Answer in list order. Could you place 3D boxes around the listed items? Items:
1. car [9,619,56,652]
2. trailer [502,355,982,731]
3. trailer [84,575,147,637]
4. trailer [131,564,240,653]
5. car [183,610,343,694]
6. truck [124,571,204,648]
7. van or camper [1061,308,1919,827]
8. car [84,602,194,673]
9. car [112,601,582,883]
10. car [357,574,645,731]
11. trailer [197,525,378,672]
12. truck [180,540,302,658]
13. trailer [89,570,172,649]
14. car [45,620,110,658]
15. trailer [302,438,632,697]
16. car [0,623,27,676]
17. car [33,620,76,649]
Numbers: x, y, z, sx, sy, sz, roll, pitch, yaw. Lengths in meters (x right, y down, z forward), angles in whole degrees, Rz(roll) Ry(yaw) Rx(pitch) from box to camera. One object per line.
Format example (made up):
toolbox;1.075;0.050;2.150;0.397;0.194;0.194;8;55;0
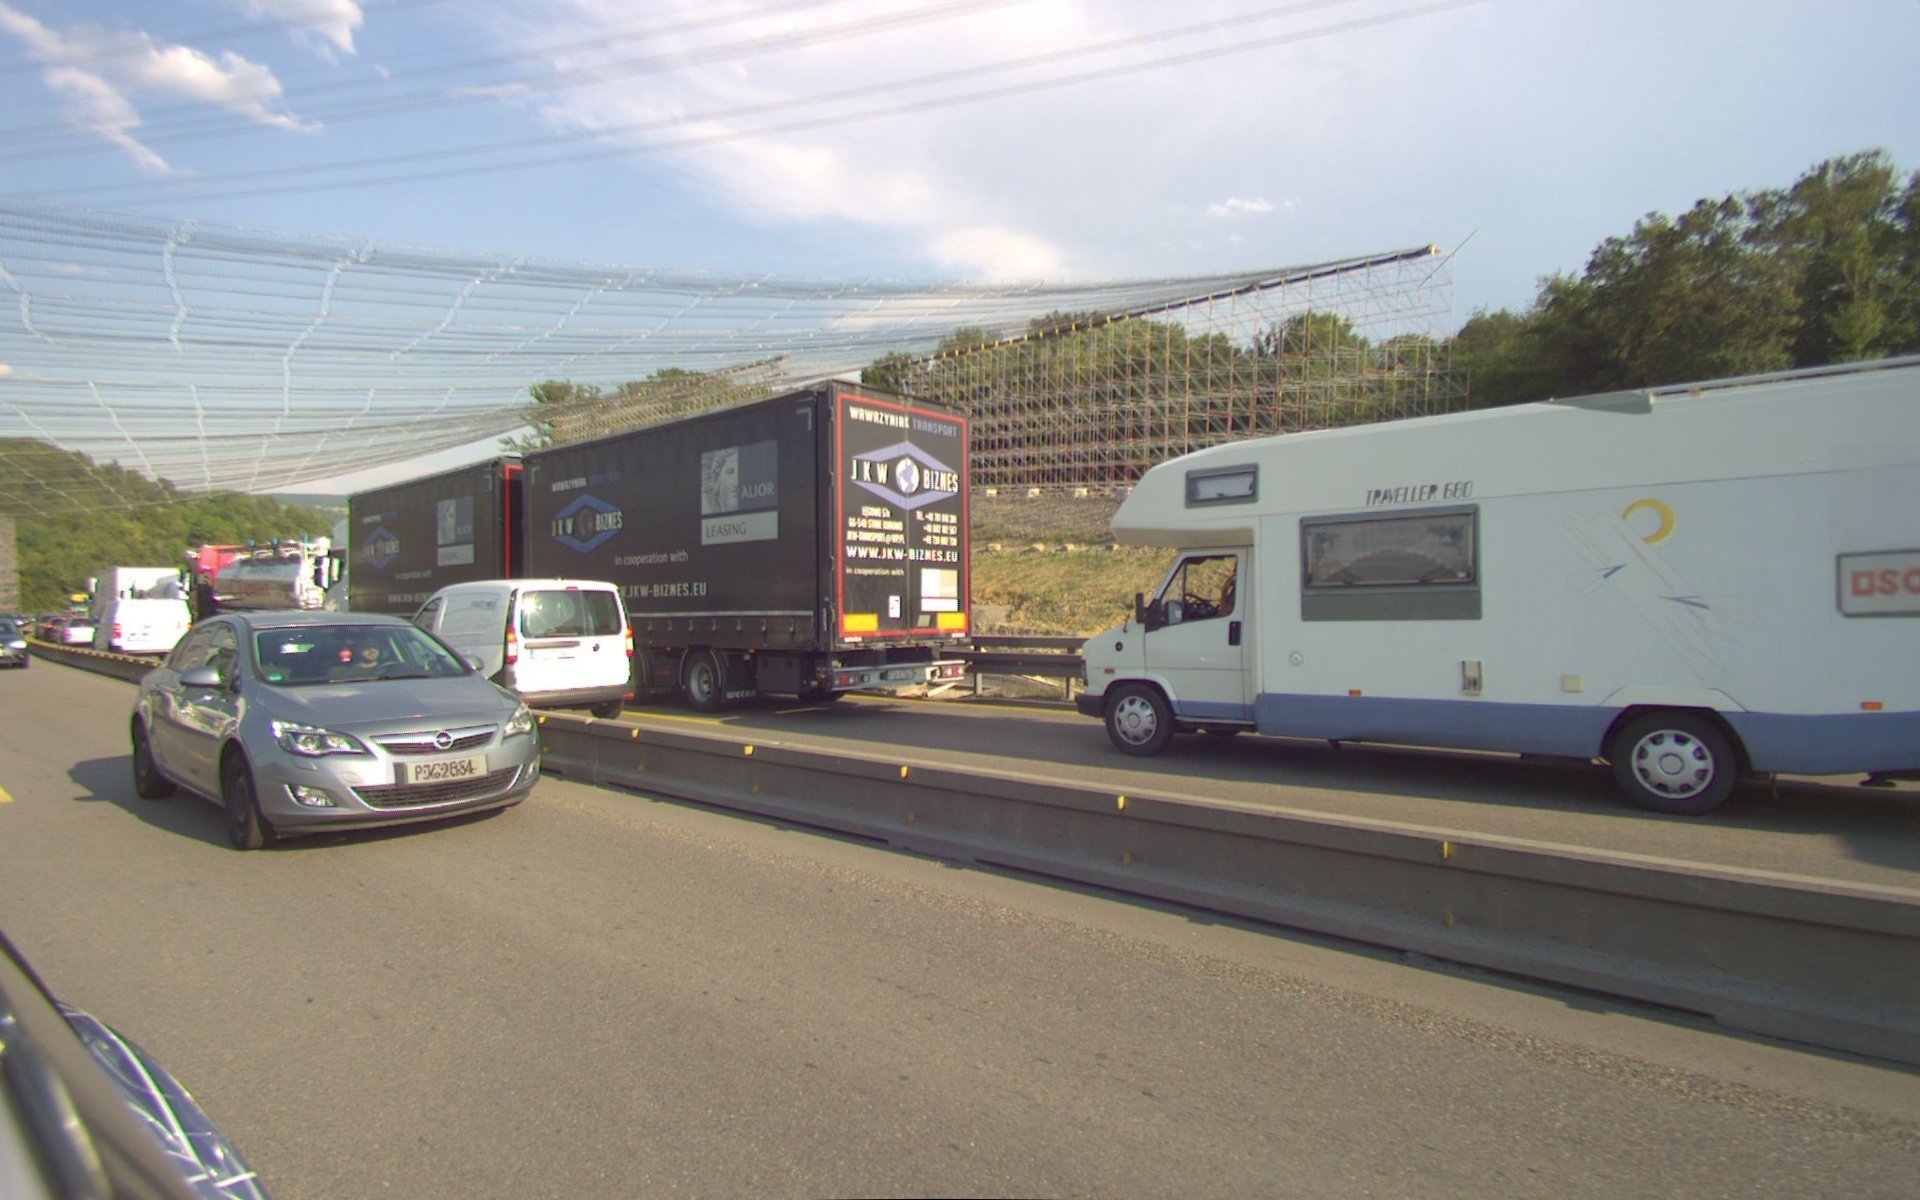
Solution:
car;-44.676;1.679;48.742;3.588;1.540;1.489;-1;0;44
trailer;-3.718;-0.602;15.112;8.540;4.220;2.417;-1;0;42
trailer;-60.194;0.427;71.997;2.638;4.046;13.345;0;0;-43
trailer;-33.549;0.374;43.571;2.280;3.387;12.060;0;0;-44
car;-14.109;0.969;20.379;4.602;1.490;1.662;-1;0;42
truck;-37.707;0.446;47.867;2.386;3.395;5.621;0;0;-45
van or camper;4.610;-0.166;7.923;7.613;2.913;2.383;-1;0;41
car;-24.455;1.046;30.071;4.835;1.940;1.798;-1;0;42
car;-4.696;0.776;7.458;4.351;1.484;1.737;-1;0;41
car;-6.059;0.588;13.106;4.452;1.708;1.738;-1;0;41
trailer;-21.160;0.011;31.378;12.058;3.819;2.281;-1;0;45
truck;-25.266;-0.001;35.482;5.617;3.813;2.406;-1;0;43
trailer;-47.405;0.551;57.648;2.399;3.993;14.108;0;0;-44
car;-36.717;1.574;42.078;4.658;1.437;1.609;-1;0;43
trailer;-10.854;-0.499;21.427;10.507;4.361;2.450;-1;0;42
car;-27.383;1.367;28.364;1.739;1.394;3.826;0;0;-44
car;-52.963;2.007;59.152;1.730;1.599;3.946;0;0;-44
